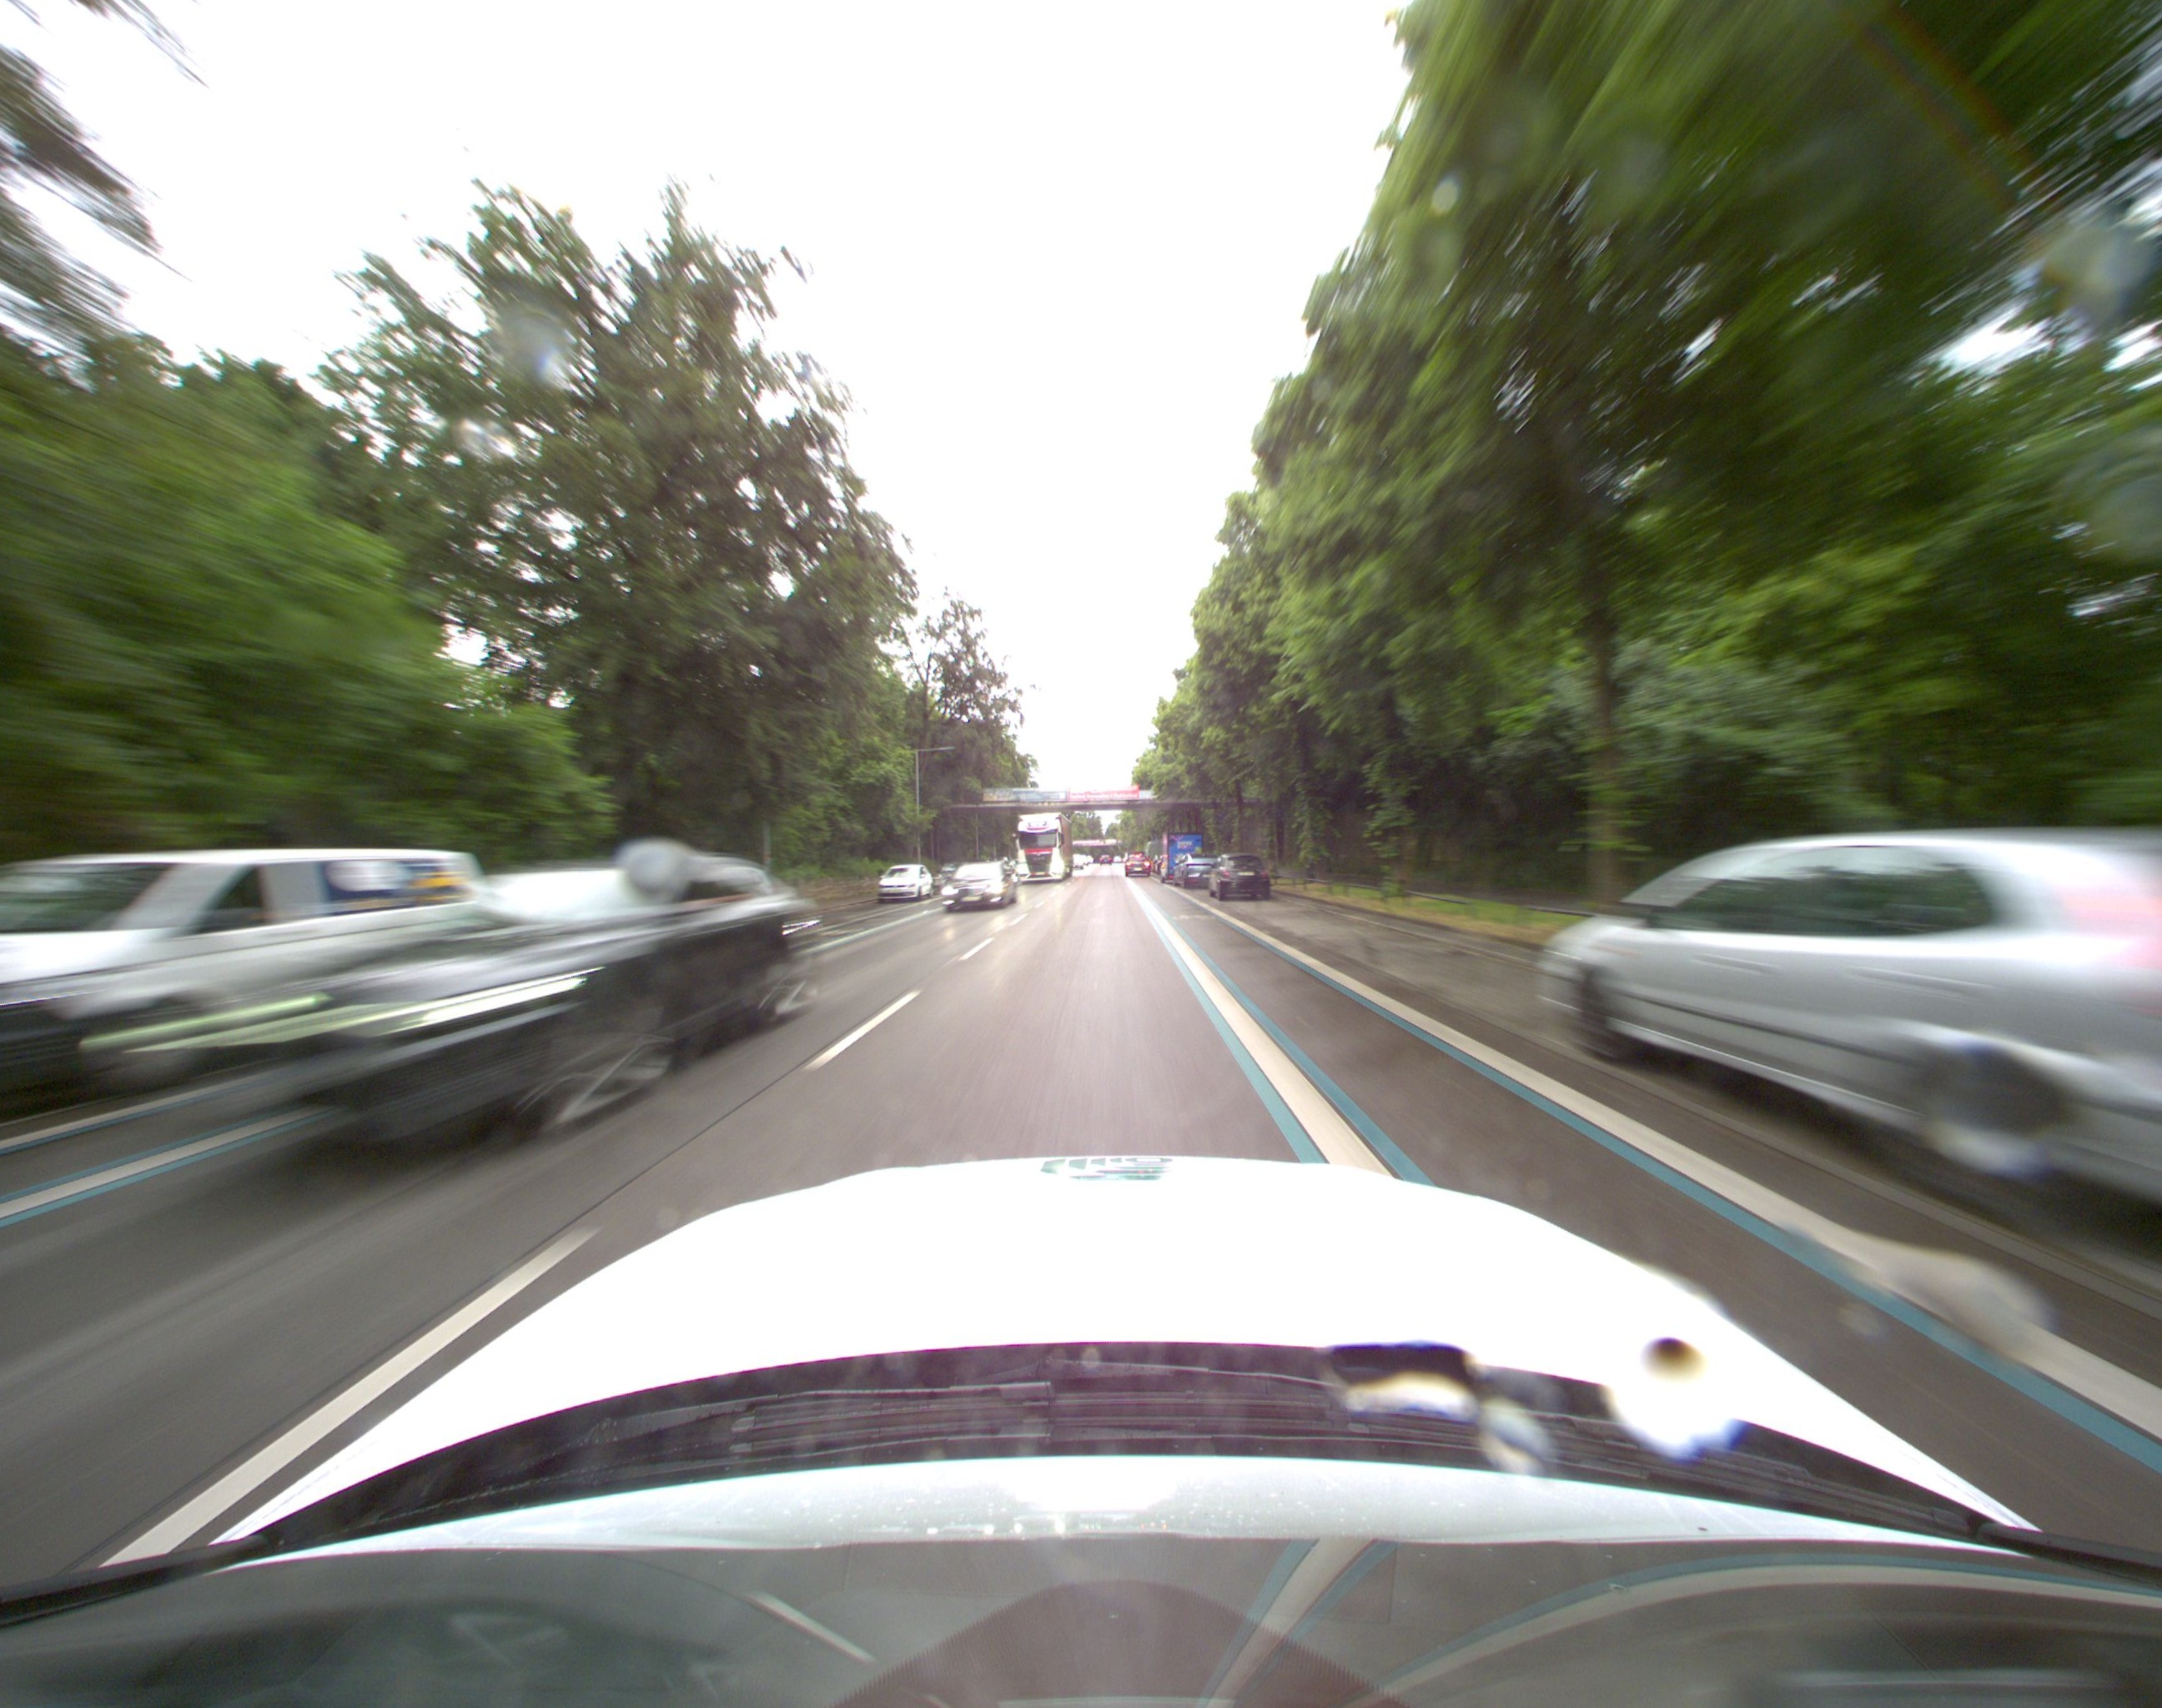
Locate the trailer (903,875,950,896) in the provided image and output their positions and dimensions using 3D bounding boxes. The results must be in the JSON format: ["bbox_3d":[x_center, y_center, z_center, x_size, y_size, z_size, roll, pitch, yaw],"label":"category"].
[{"bbox_3d":[-7.253,1.481,38.517,1.537,0.819,3.305,-2,0,0],"label":"trailer"}]

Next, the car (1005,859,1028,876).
[{"bbox_3d":[-6.046,1.255,76.684,1.778,1.423,4.296,-2,0,1],"label":"car"}]

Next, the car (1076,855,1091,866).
[{"bbox_3d":[0.364,0.961,121.162,1.957,1.627,4.325,-2,0,4],"label":"car"}]

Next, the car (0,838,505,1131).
[{"bbox_3d":[-8.379,0.893,8.019,1.969,2.005,5.014,-1,0,-3],"label":"car"}]

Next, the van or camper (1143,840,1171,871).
[{"bbox_3d":[6.782,0.133,73.682,2.035,2.729,6.901,0,0,1],"label":"van or camper"}]

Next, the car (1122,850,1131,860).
[{"bbox_3d":[9.619,0.239,173.335,1.881,2.127,4.048,-2,0,3],"label":"car"}]

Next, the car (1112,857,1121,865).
[{"bbox_3d":[7.611,1.505,173.651,1.725,1.583,4.037,-2,0,1],"label":"car"}]

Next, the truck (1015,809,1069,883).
[{"bbox_3d":[-2.272,-0.470,48.835,2.507,4.046,4.920,-4,0,3],"label":"truck"}]

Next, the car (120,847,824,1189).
[{"bbox_3d":[-3.807,0.835,6.370,1.954,1.617,4.467,-4,0,2],"label":"car"}]

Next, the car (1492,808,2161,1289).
[{"bbox_3d":[4.511,0.638,4.938,1.747,1.597,4.741,-1,0,1],"label":"car"}]

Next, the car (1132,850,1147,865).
[{"bbox_3d":[8.125,0.501,113.318,1.919,2.022,4.666,0,0,2],"label":"car"}]

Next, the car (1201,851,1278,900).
[{"bbox_3d":[5.328,0.673,27.903,1.819,1.503,4.572,-2,0,1],"label":"car"}]

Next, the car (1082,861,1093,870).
[{"bbox_3d":[1.185,2.066,148.959,1.914,1.560,4.623,0,0,2],"label":"car"}]

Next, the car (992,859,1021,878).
[{"bbox_3d":[-6.380,1.237,70.238,1.977,1.472,4.898,-1,0,1],"label":"car"}]

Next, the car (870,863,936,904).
[{"bbox_3d":[-7.263,1.161,33.620,1.783,1.482,3.982,-2,0,0],"label":"car"}]

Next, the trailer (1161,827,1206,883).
[{"bbox_3d":[5.321,0.065,42.816,1.945,2.758,4.008,-1,0,2],"label":"trailer"}]

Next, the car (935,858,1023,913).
[{"bbox_3d":[-3.131,0.922,25.956,1.907,1.456,4.623,-4,0,3],"label":"car"}]

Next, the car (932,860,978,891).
[{"bbox_3d":[-6.764,1.136,44.075,1.826,1.477,4.038,-2,0,-1],"label":"car"}]

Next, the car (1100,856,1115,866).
[{"bbox_3d":[4.052,1.092,123.582,2.133,1.492,4.497,-1,0,0],"label":"car"}]

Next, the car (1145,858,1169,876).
[{"bbox_3d":[6.171,1.026,66.668,1.679,1.416,4.102,-1,0,2],"label":"car"}]

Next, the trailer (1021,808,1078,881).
[{"bbox_3d":[-1.986,-0.572,56.360,2.677,4.259,12.775,-4,0,2],"label":"trailer"}]

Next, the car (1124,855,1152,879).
[{"bbox_3d":[3.920,0.862,56.503,1.811,1.508,4.142,-2,0,3],"label":"car"}]

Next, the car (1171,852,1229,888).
[{"bbox_3d":[5.290,0.670,36.861,1.894,1.547,4.754,0,0,-1],"label":"car"}]

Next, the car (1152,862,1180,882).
[{"bbox_3d":[6.323,1.316,60.906,1.680,1.416,4.197,-1,0,0],"label":"car"}]

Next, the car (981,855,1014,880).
[{"bbox_3d":[-6.626,1.039,64.811,1.983,1.742,4.839,-2,0,1],"label":"car"}]

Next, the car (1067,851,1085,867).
[{"bbox_3d":[-0.563,0.567,92.496,1.827,1.666,4.182,-2,0,1],"label":"car"}]

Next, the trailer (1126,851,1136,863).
[{"bbox_3d":[9.608,0.550,156.488,1.876,2.166,3.810,-2,0,2],"label":"trailer"}]
